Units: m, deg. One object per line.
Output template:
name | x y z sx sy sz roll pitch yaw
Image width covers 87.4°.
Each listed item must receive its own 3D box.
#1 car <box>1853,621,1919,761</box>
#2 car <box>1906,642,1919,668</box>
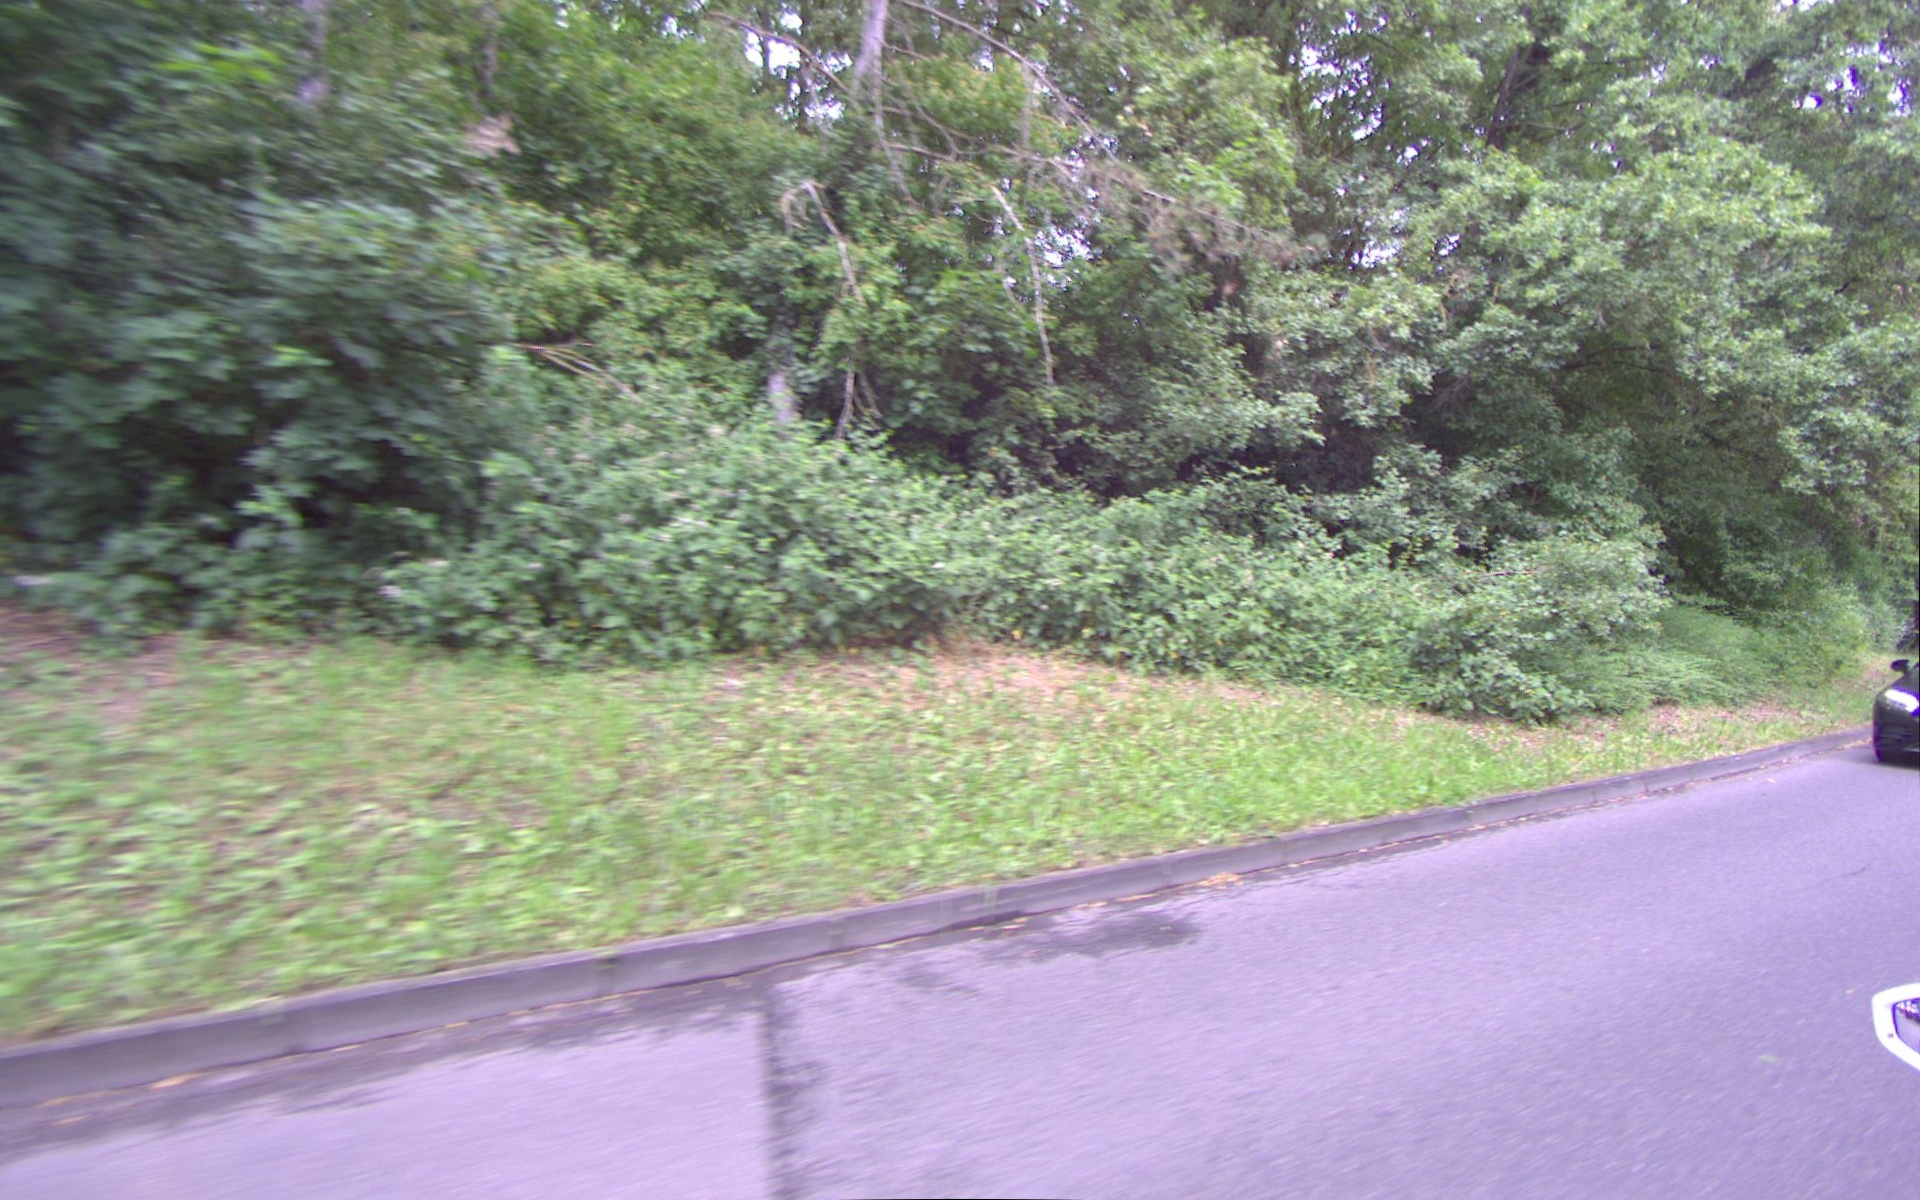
car | 11.834 1.036 11.268 4.448 1.407 1.778 3 0 -36
car | 59.121 3.404 60.423 1.962 1.492 3.998 3 0 24
